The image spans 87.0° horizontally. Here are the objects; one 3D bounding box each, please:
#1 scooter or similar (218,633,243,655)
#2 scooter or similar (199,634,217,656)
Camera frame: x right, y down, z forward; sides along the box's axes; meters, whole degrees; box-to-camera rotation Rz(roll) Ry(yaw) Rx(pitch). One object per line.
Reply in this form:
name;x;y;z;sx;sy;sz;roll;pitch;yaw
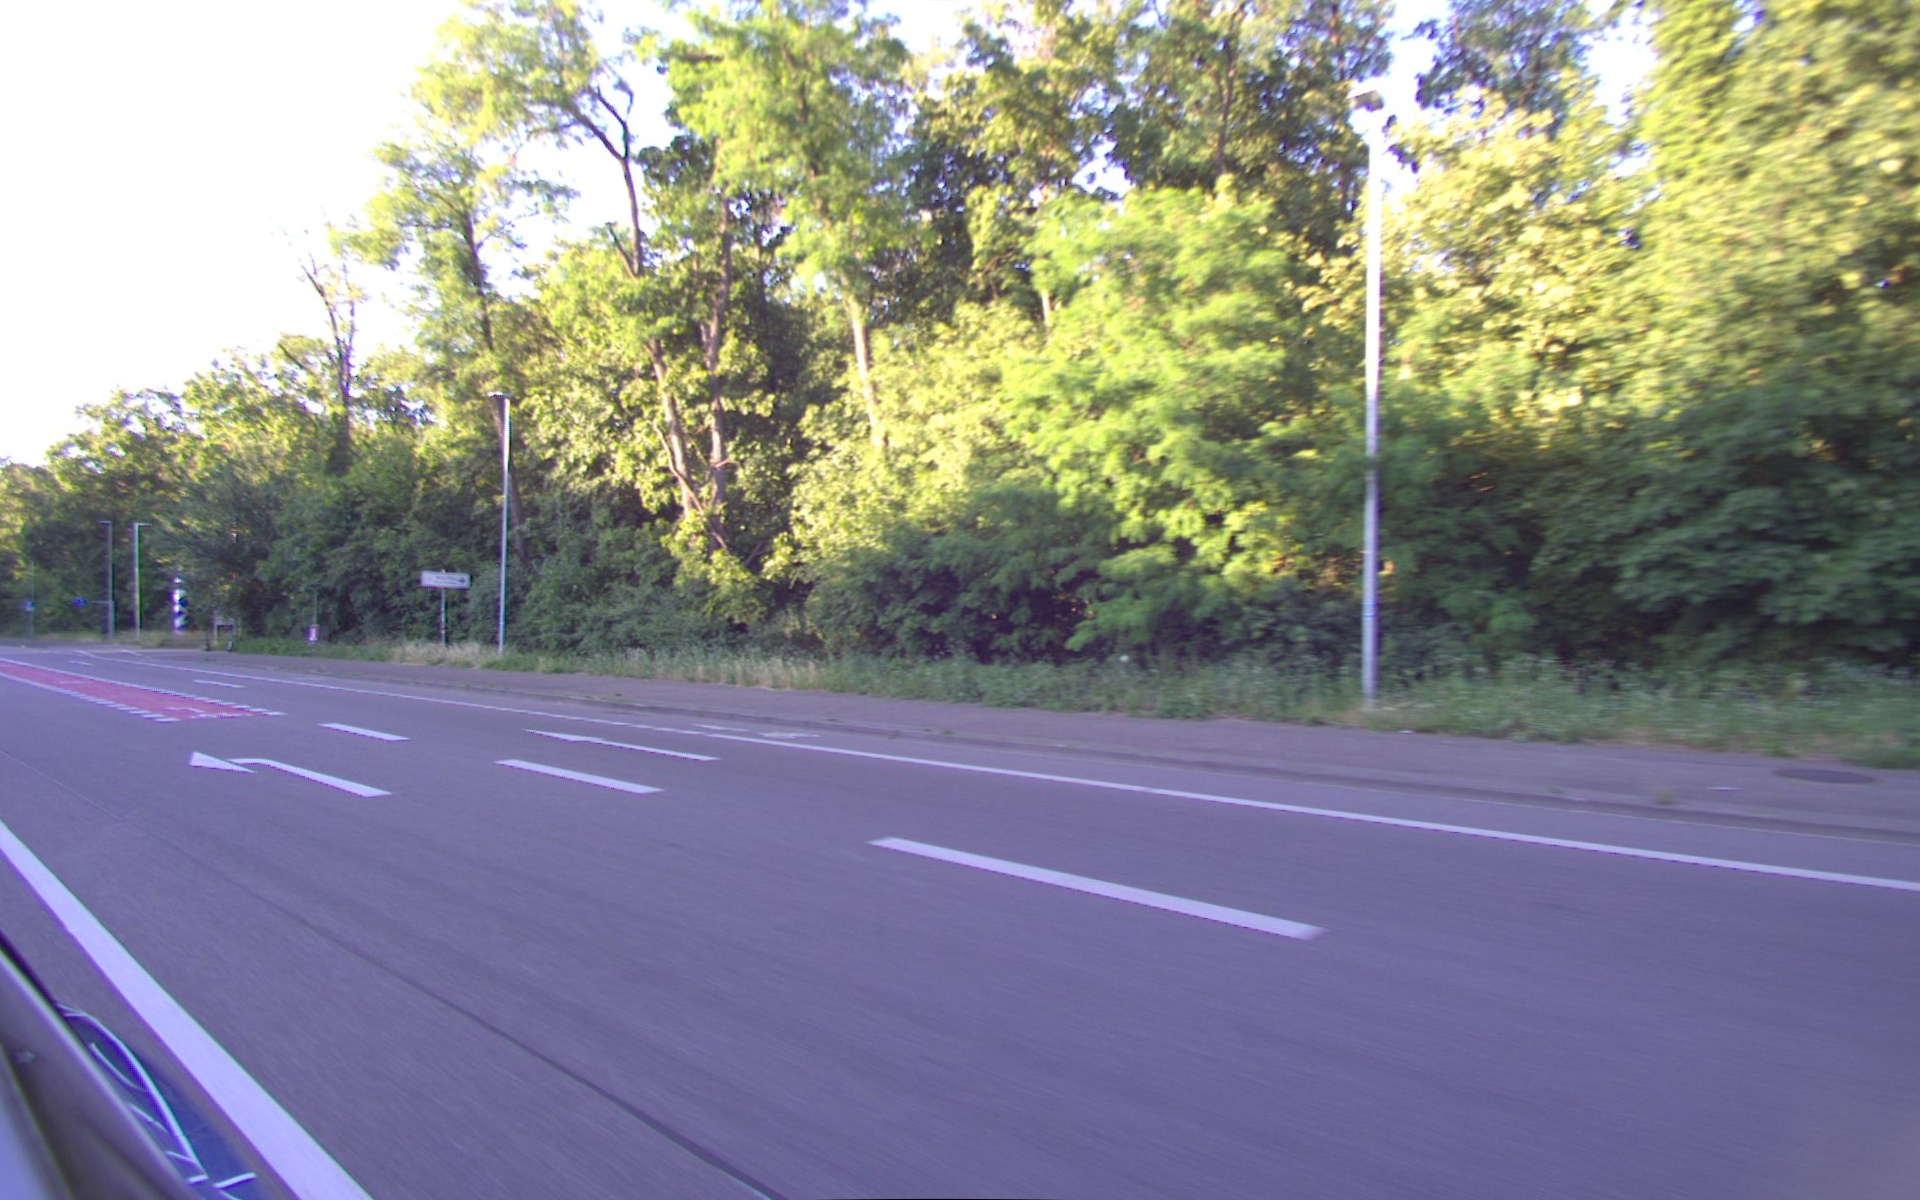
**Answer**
scooter or similar;-35.606;2.138;49.400;0.491;1.076;0.895;-1;-2;15
scooter or similar;-38.521;2.301;51.841;0.356;1.118;0.881;0;-2;-8
